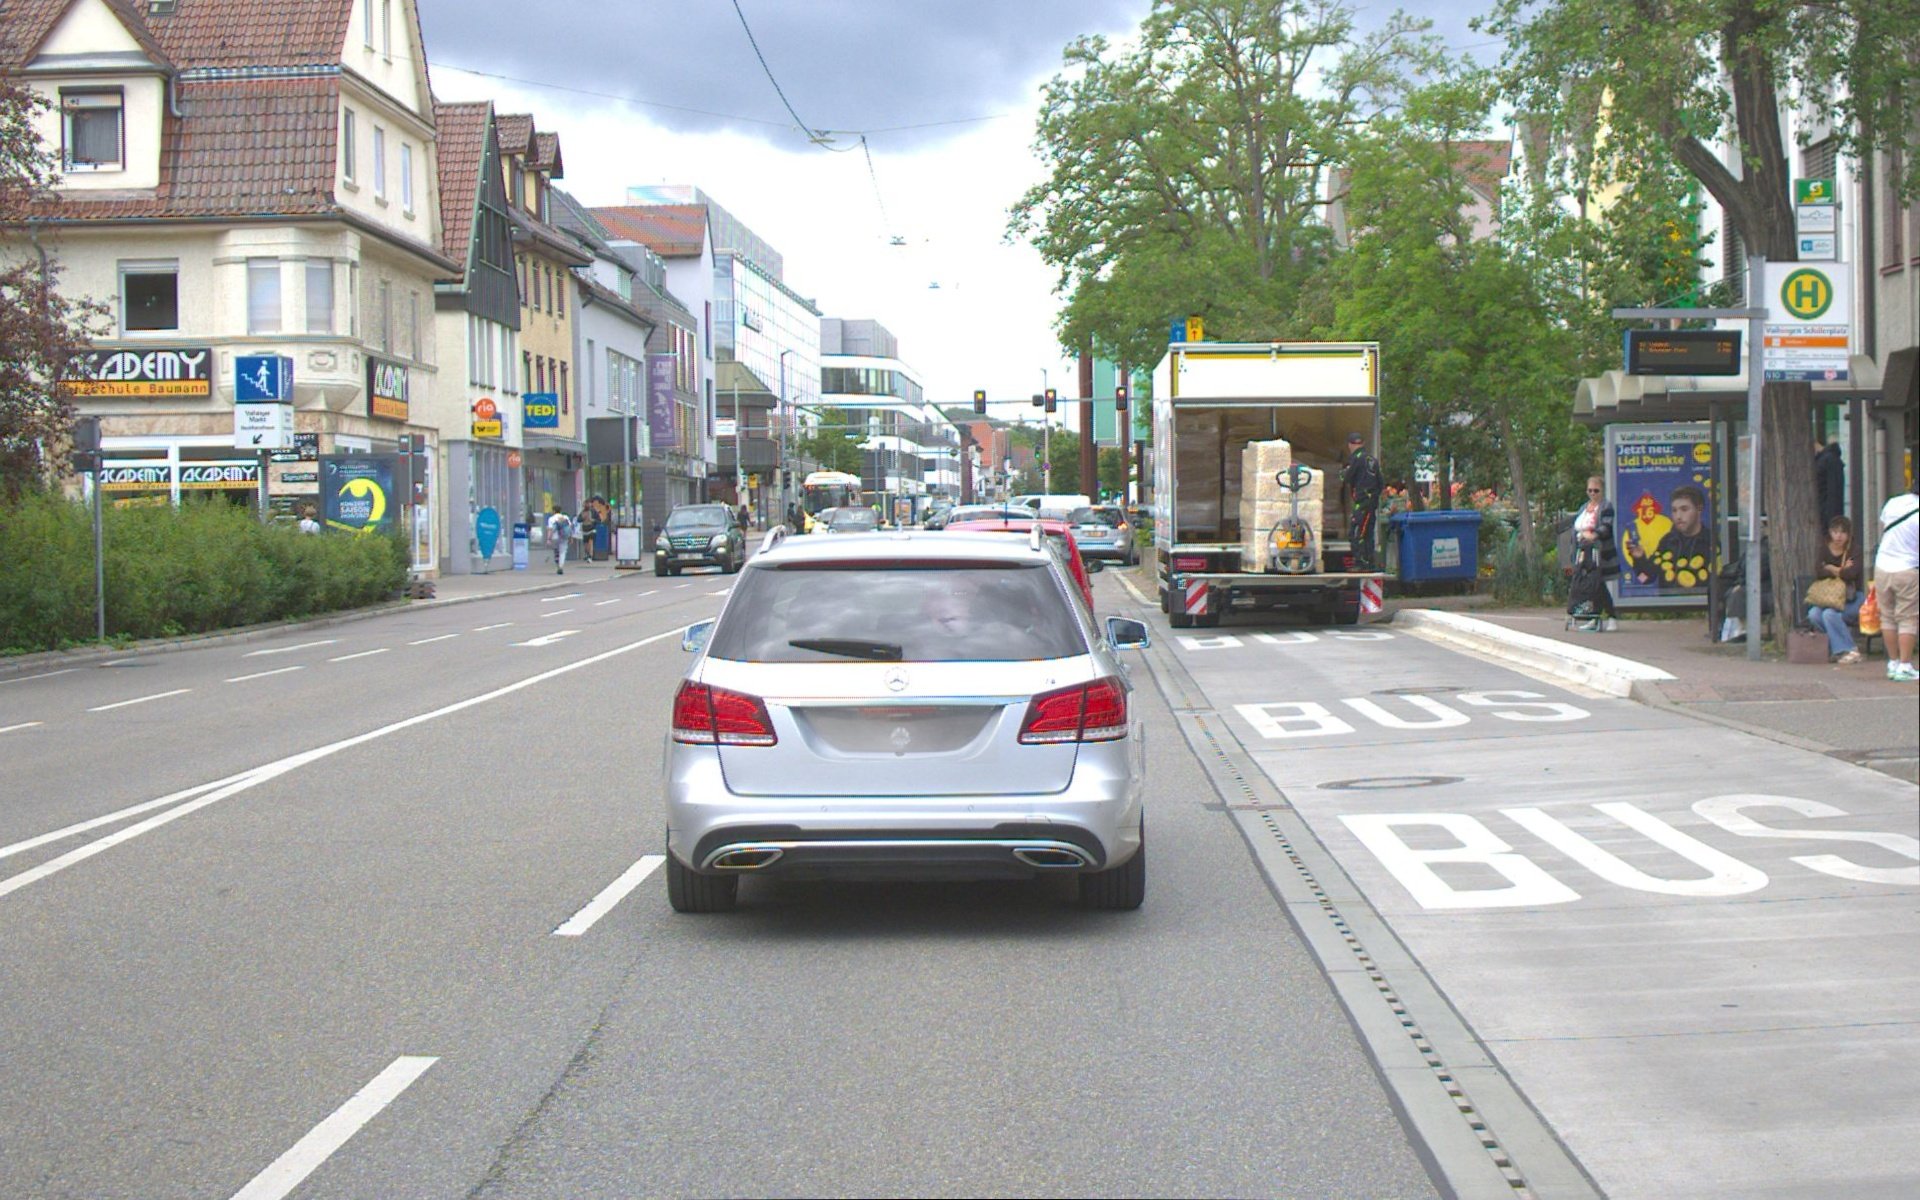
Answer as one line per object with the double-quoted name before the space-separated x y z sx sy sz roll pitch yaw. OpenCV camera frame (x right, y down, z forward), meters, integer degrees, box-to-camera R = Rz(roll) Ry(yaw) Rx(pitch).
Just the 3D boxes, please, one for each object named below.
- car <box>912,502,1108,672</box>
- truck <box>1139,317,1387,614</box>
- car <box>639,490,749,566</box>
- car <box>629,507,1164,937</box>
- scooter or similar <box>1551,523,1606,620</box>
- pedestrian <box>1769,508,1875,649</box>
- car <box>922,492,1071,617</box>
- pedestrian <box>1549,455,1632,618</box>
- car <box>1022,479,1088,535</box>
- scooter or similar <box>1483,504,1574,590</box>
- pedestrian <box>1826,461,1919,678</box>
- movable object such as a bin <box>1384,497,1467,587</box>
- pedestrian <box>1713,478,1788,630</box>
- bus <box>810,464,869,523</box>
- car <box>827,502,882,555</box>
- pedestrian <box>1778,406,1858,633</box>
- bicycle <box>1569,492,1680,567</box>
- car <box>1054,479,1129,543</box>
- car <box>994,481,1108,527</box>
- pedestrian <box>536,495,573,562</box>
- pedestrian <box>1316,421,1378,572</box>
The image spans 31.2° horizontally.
"car" 0.514 -0.161 33.372 1.754 1.515 4.000 -1 1 2
"truck" 3.917 -1.789 46.487 2.688 3.549 9.767 -1 2 1
"car" -6.558 -1.815 85.211 2.069 1.732 4.693 -3 2 3
"car" -0.229 0.377 14.120 1.874 1.500 4.000 0 2 0
"scooter or similar" 6.248 -0.289 34.731 0.384 0.955 0.355 -3 2 -39
"pedestrian" 7.261 -0.187 28.977 0.711 1.162 0.588 0 2 -5
"car" 0.565 -0.679 49.013 1.993 1.678 4.000 -1 2 2
"pedestrian" 6.441 -0.652 35.150 0.534 1.629 0.588 1 2 -23
"car" 2.957 -2.883 106.781 1.993 1.678 4.000 -1 2 2
"scooter or similar" 8.178 -0.767 49.467 1.175 1.192 0.460 -1 2 -7
"pedestrian" 7.151 -0.247 26.421 0.613 1.629 0.794 -2 3 -20
"movable object such as a bin" 7.124 -0.902 52.687 1.143 1.335 1.376 -1 2 4
"pedestrian" 7.483 -0.438 32.522 0.613 1.396 0.587 -2 1 15
"bus" -6.550 -5.816 187.754 2.775 3.154 5.933 -1 2 2
"car" -3.163 -2.174 103.573 1.570 1.535 2.961 1 2 -1
"pedestrian" 7.855 -0.736 31.471 0.613 2.040 0.587 -2 1 15
"bicycle" 12.031 -1.278 62.291 1.816 1.322 0.843 -1 2 -2
"car" 3.604 -2.454 94.437 1.993 1.678 4.000 -1 2 2
"car" 4.312 -4.547 163.016 5.123 1.954 1.968 -3 2 -32
"pedestrian" -9.989 -1.757 84.696 0.816 1.629 0.980 1 2 -4
"pedestrian" 4.590 -1.224 40.823 0.613 1.774 0.588 -1 0 -2
